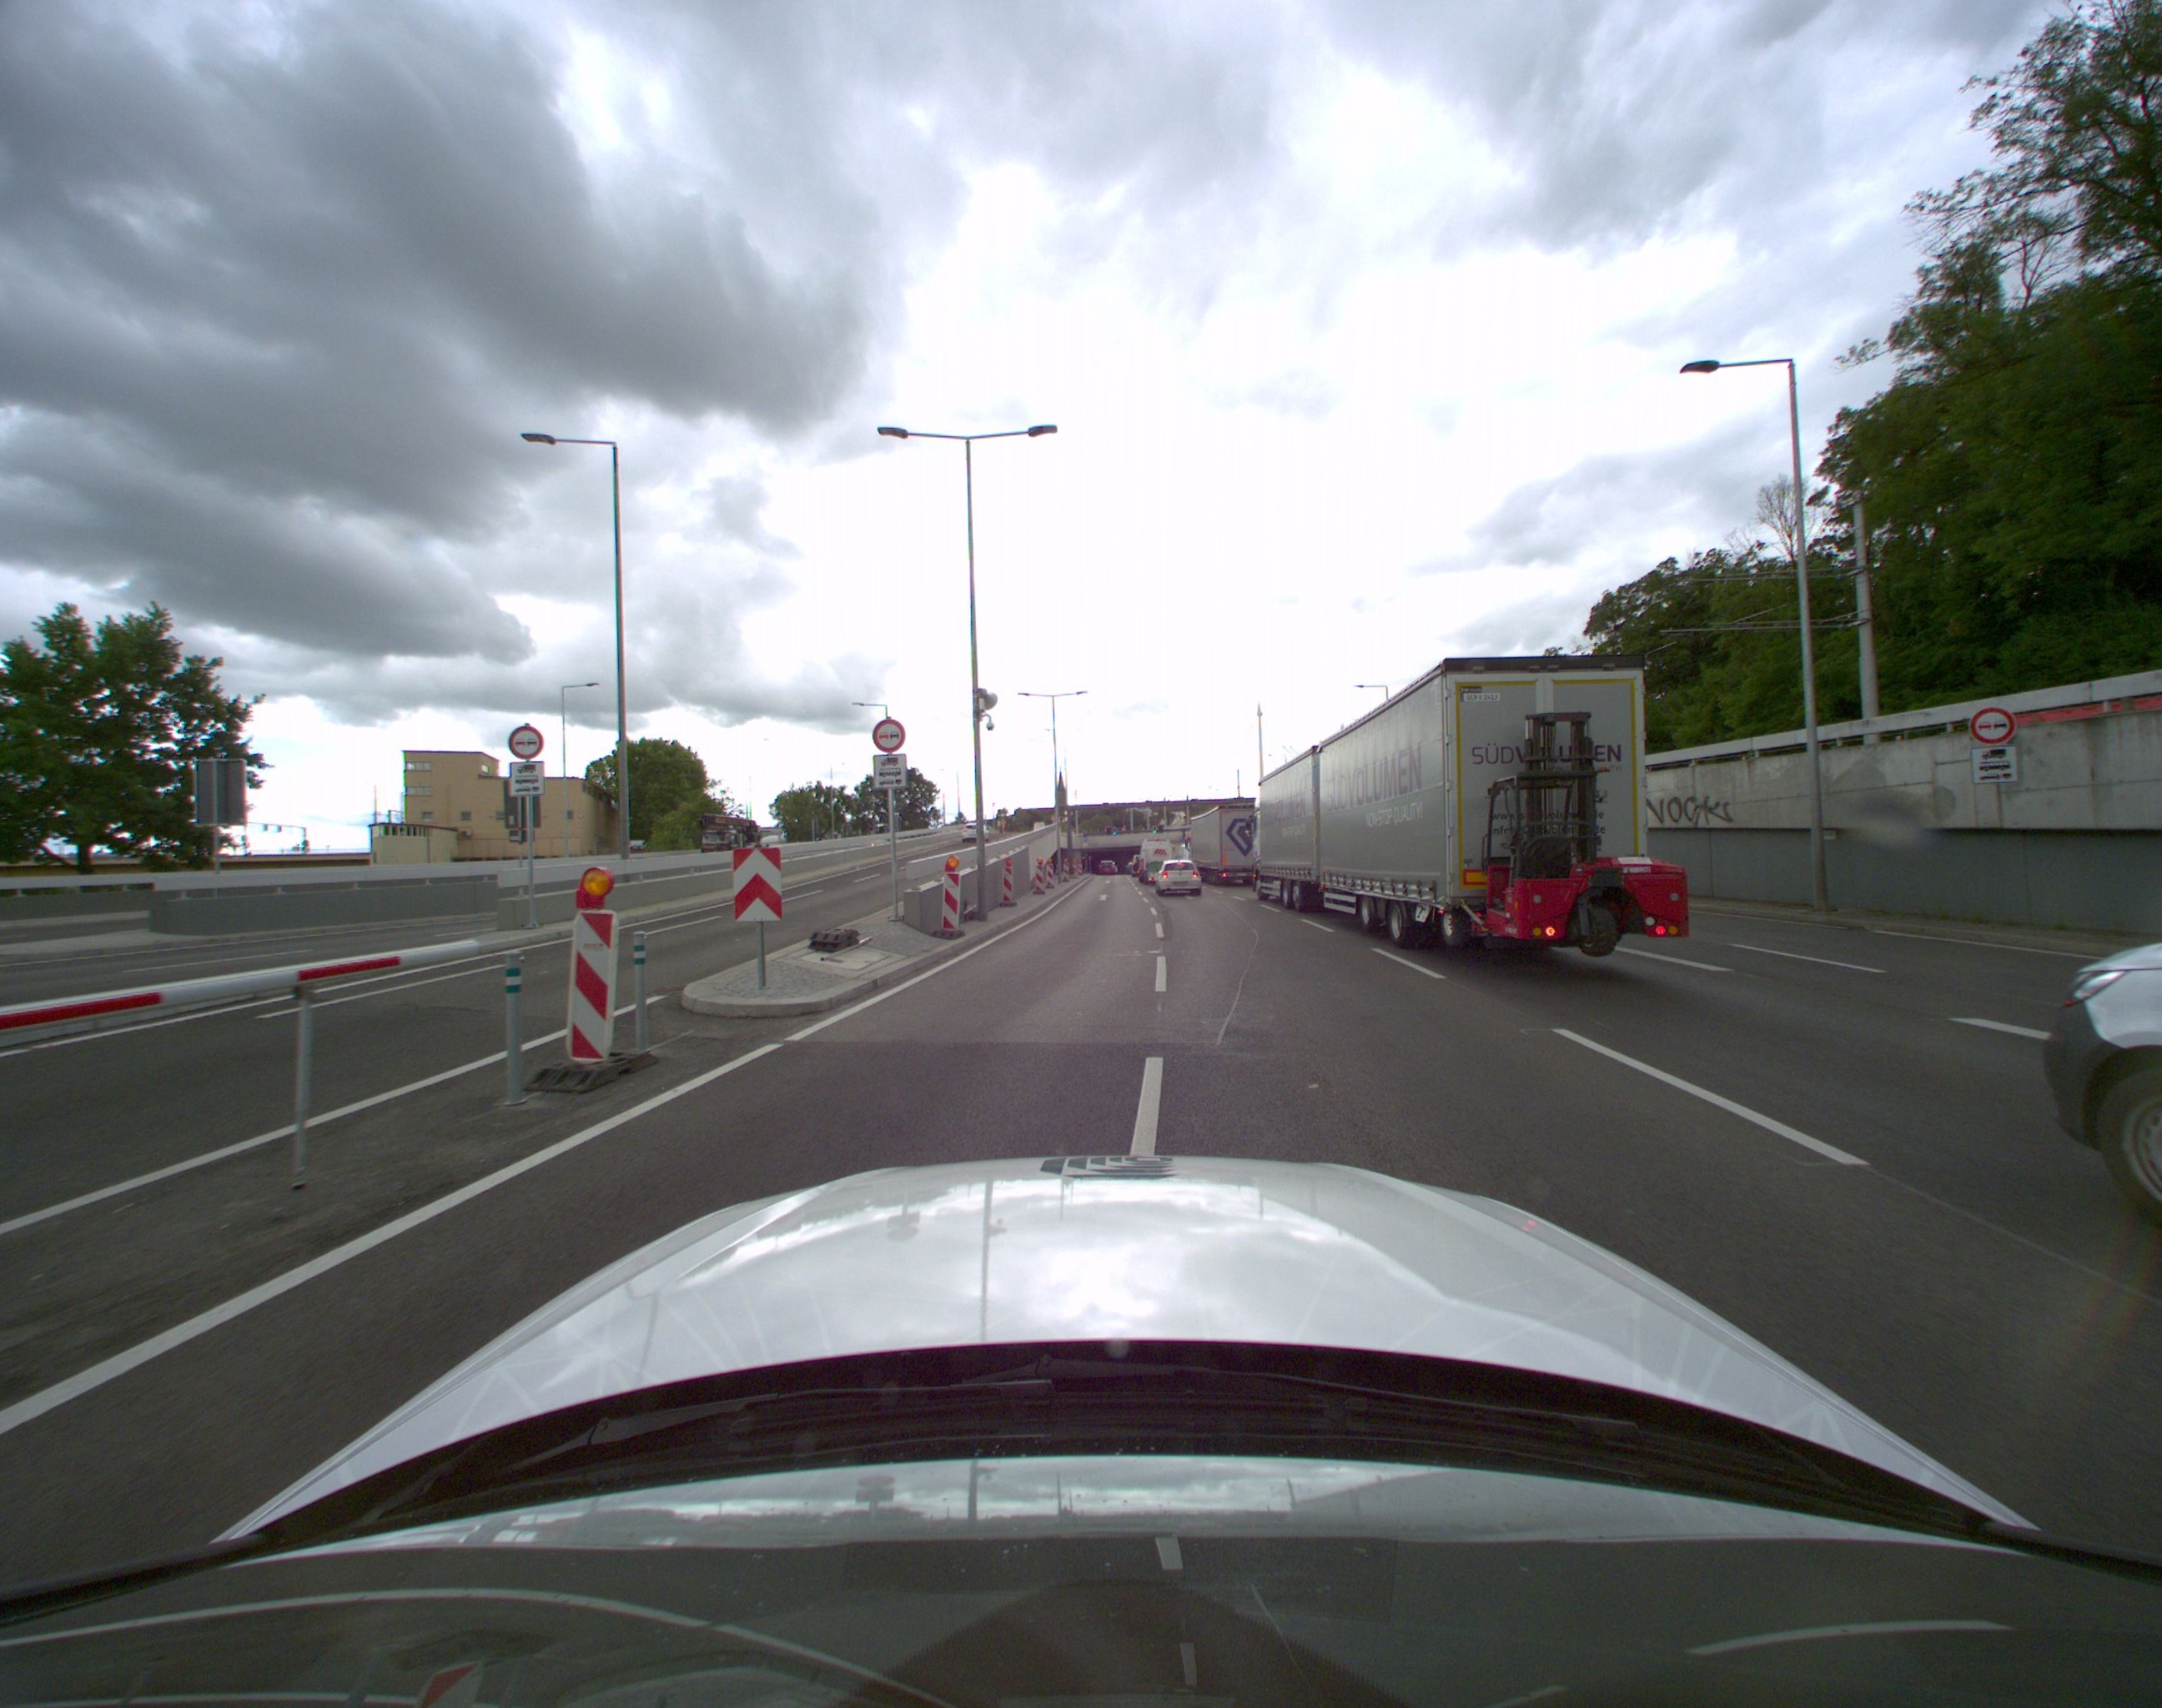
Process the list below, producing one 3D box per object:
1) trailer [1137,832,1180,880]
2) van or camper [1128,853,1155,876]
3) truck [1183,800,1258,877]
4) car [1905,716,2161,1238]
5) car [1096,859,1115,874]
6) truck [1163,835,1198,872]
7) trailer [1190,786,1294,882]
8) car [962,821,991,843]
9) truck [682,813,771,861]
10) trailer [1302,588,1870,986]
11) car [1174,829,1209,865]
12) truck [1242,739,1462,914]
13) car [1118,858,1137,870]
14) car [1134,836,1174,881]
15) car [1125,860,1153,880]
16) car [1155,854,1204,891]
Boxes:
[{"bbox_3d":[4.489,0.144,47.791,2.096,2.639,4.810,2,-1,1],"label":"trailer"},{"bbox_3d":[5.202,0.864,70.546,1.986,1.845,5.510,-1,1,1],"label":"van or camper"},{"bbox_3d":[8.904,-0.941,52.940,3.791,4.631,7.445,0,0,2],"label":"truck"},{"bbox_3d":[4.912,0.455,1.498,1.983,1.990,5.210,-1,0,7],"label":"car"},{"bbox_3d":[2.592,1.365,86.820,1.657,1.488,3.561,-2,-2,-4],"label":"car"},{"bbox_3d":[9.221,-0.014,76.000,2.639,3.185,7.431,-2,-1,3],"label":"truck"},{"bbox_3d":[8.694,-0.960,45.936,3.791,4.631,12.118,0,0,2],"label":"trailer"},{"bbox_3d":[-7.888,-1.647,61.843,1.739,1.432,3.773,2,-1,-1],"label":"car"},{"bbox_3d":[-27.436,-1.426,63.663,2.726,3.389,10.612,1,2,-2],"label":"truck"},{"bbox_3d":[6.755,-0.662,14.061,3.707,4.141,10.997,-1,0,5],"label":"trailer"},{"bbox_3d":[8.951,-0.550,66.422,2.067,2.773,7.329,1,0,2],"label":"car"},{"bbox_3d":[7.538,-0.637,24.921,3.708,4.141,10.994,-1,0,4],"label":"truck"},{"bbox_3d":[6.173,1.310,107.703,1.990,1.387,3.993,-1,0,-5],"label":"car"},{"bbox_3d":[4.541,0.328,51.487,2.051,2.628,5.942,2,-1,1],"label":"car"},{"bbox_3d":[4.575,1.250,64.381,1.679,1.545,3.687,0,0,-4],"label":"car"},{"bbox_3d":[4.025,0.734,33.742,1.709,1.398,4.350,0,-1,2],"label":"car"}]
